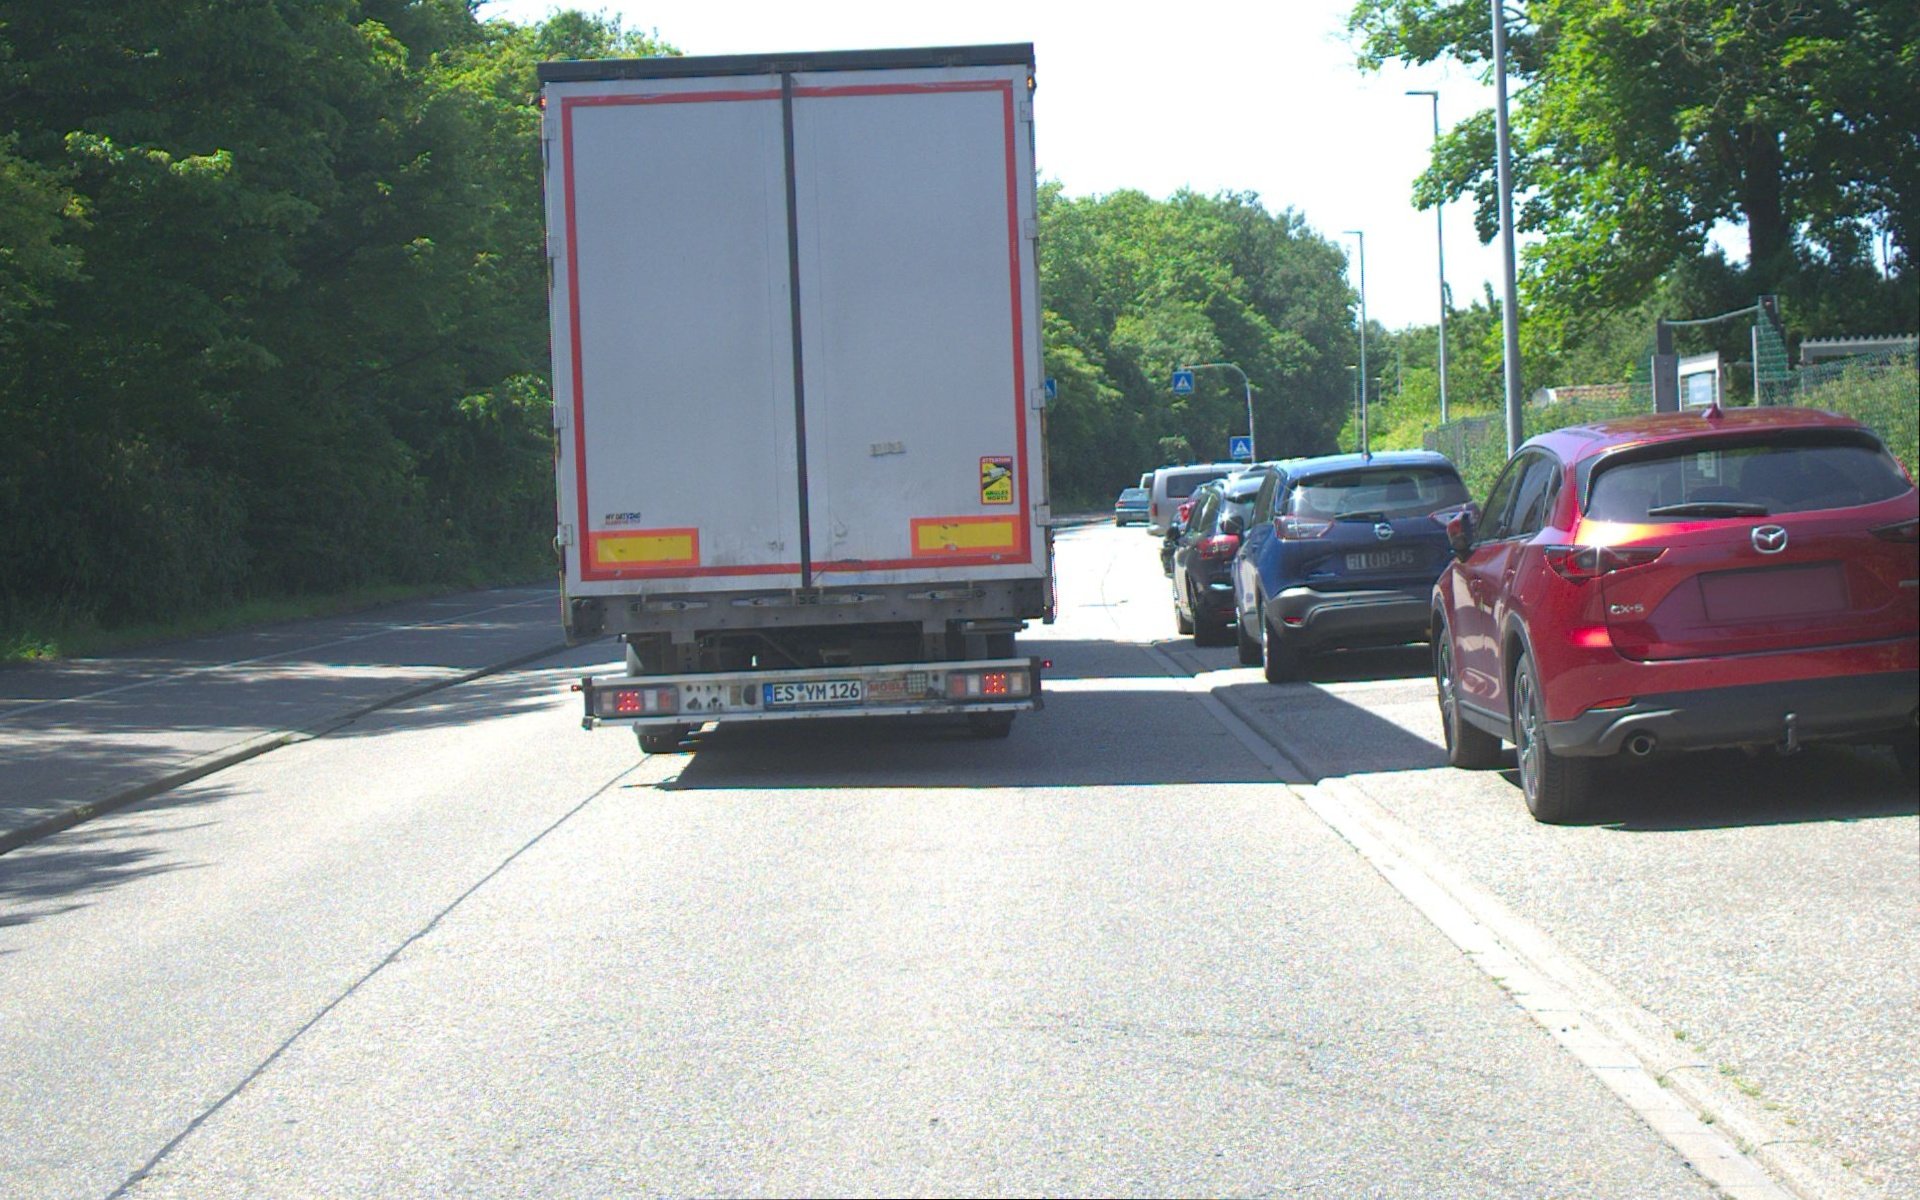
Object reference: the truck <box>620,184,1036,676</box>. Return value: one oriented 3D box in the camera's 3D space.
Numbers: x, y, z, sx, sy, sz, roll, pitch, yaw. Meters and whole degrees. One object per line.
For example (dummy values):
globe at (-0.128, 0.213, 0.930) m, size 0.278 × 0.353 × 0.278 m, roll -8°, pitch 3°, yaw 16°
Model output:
truck at (-1.063, -1.424, 29.653) m, size 3.113 × 3.712 × 6.414 m, roll -1°, pitch 2°, yaw -1°

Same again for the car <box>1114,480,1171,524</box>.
car at (6.625, -3.557, 124.500) m, size 1.781 × 1.481 × 4.000 m, roll -1°, pitch 2°, yaw 6°

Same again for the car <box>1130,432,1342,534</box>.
car at (6.315, -2.685, 78.670) m, size 4.622 × 1.842 × 1.996 m, roll -6°, pitch 2°, yaw 5°

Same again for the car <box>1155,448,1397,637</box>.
car at (2.896, -0.595, 32.373) m, size 1.789 × 1.476 × 4.665 m, roll -6°, pitch 2°, yaw 1°

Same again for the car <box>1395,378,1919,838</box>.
car at (3.200, -0.065, 15.680) m, size 1.789 × 1.652 × 4.453 m, roll -6°, pitch 2°, yaw 1°

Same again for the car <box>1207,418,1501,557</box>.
car at (5.981, -1.726, 52.572) m, size 4.258 × 1.692 × 1.853 m, roll -5°, pitch 2°, yaw 5°

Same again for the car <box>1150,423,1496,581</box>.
car at (4.979, -1.366, 47.625) m, size 4.470 × 1.698 × 1.914 m, roll -6°, pitch 2°, yaw 1°

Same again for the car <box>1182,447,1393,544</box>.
car at (6.348, -2.049, 66.931) m, size 3.920 × 1.473 × 1.845 m, roll -6°, pitch 2°, yaw 4°

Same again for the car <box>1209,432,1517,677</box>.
car at (2.951, -0.412, 25.930) m, size 1.789 × 1.598 × 4.130 m, roll -3°, pitch 3°, yaw 1°

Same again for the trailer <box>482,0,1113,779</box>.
trailer at (-0.946, -1.378, 23.240) m, size 3.112 × 4.088 × 11.538 m, roll -1°, pitch 2°, yaw -1°
